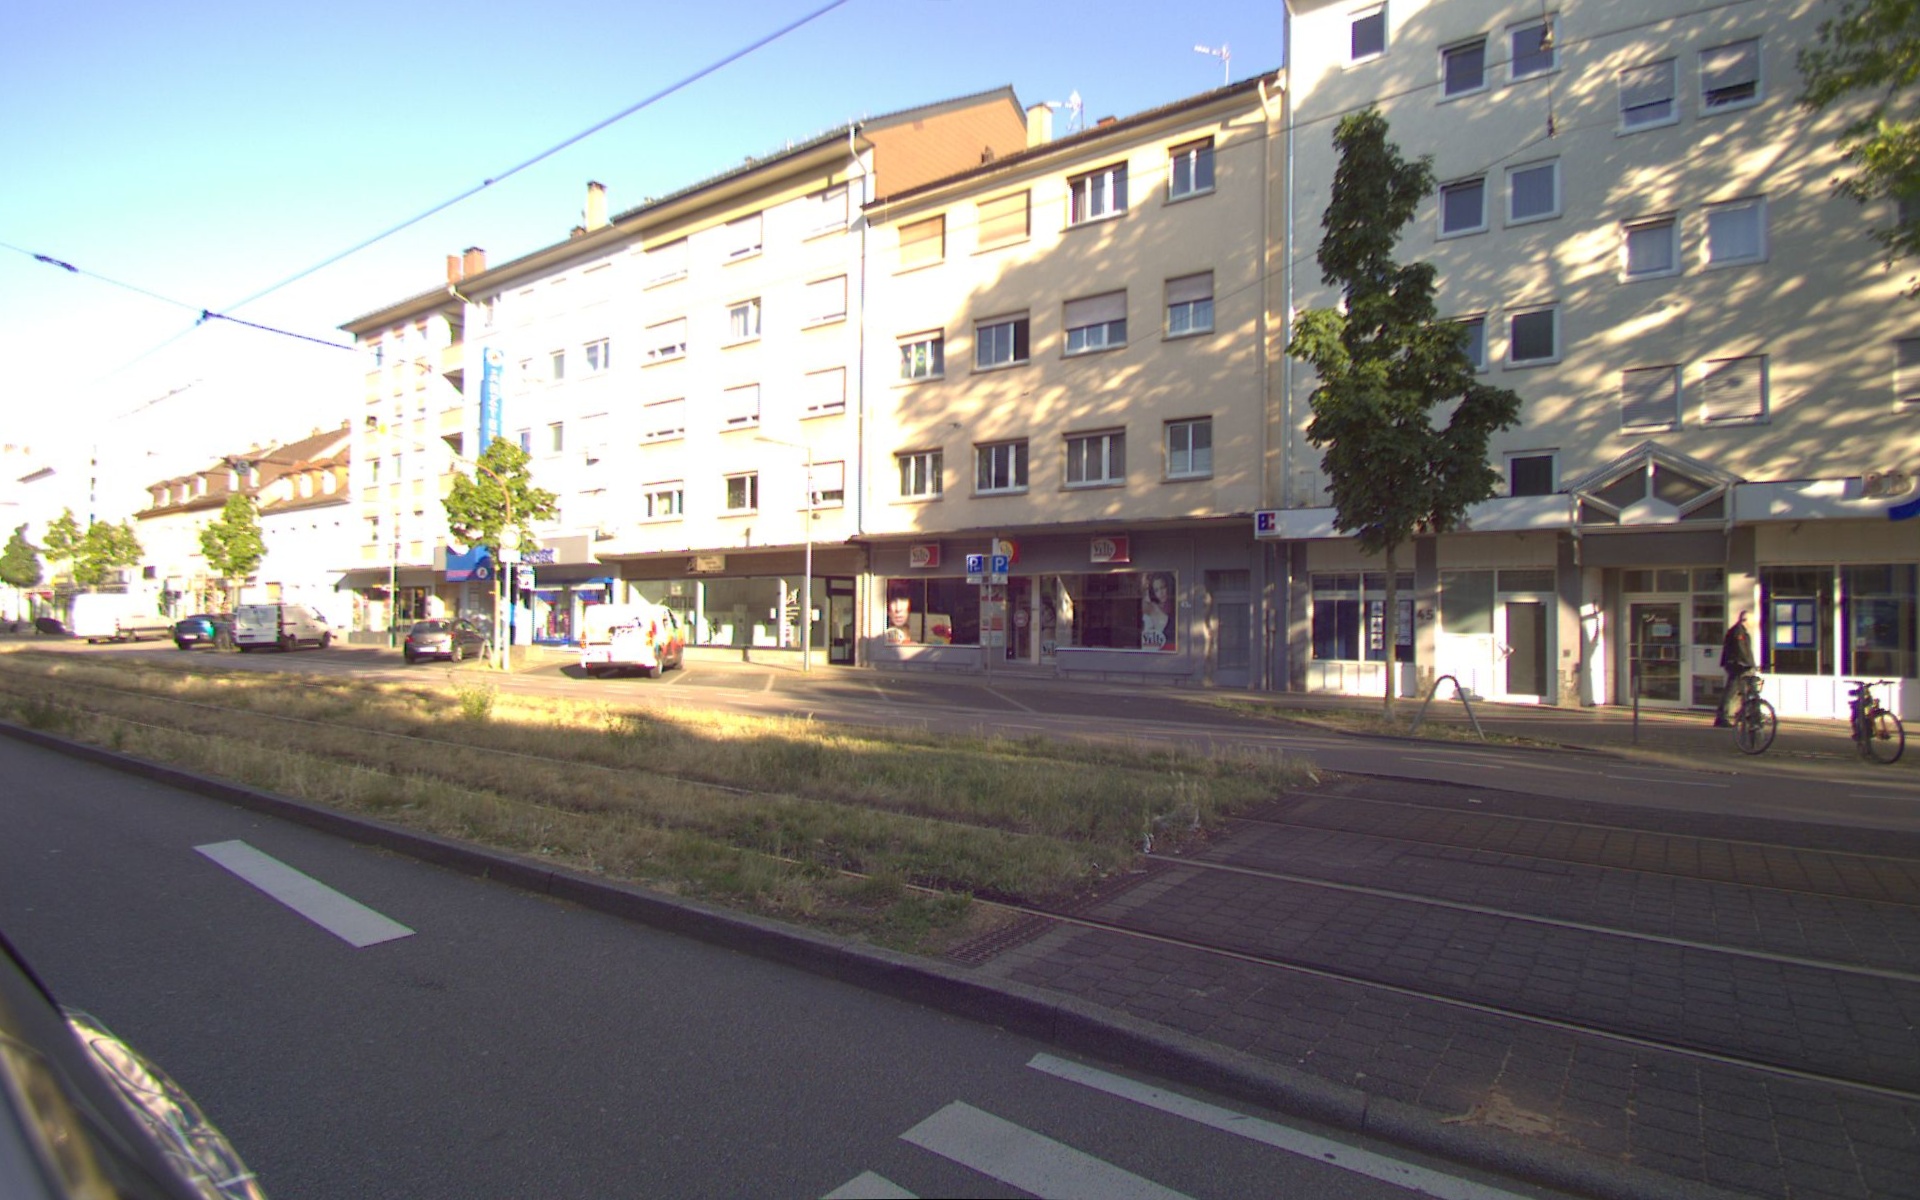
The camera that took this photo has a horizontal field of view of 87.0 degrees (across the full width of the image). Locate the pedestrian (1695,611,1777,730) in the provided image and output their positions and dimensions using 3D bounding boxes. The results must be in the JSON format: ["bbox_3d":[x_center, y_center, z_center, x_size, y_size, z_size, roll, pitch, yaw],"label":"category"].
[{"bbox_3d":[12.195,1.077,15.911,0.970,1.801,0.612,-1,0,41],"label":"pedestrian"}]

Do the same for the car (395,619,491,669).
[{"bbox_3d":[-17.613,1.460,34.698,1.741,1.501,4.461,-1,0,-11],"label":"car"}]

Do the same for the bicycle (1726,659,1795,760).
[{"bbox_3d":[10.369,1.373,13.153,0.533,1.133,1.878,-1,-1,34],"label":"bicycle"}]

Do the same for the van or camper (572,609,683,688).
[{"bbox_3d":[-8.887,1.220,27.488,1.921,1.912,4.822,-1,0,-6],"label":"van or camper"}]

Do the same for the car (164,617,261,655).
[{"bbox_3d":[-34.298,1.606,46.574,1.850,1.598,4.007,-1,0,-7],"label":"car"}]

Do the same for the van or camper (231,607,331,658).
[{"bbox_3d":[-28.564,1.308,42.753,1.771,2.004,4.460,-1,0,-9],"label":"van or camper"}]

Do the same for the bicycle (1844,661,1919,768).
[{"bbox_3d":[11.394,1.367,12.434,0.533,1.133,1.878,-1,-1,34],"label":"bicycle"}]

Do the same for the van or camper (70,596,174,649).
[{"bbox_3d":[-45.384,1.172,55.012,1.966,2.687,6.417,-1,0,-16],"label":"van or camper"}]

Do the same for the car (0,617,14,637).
[{"bbox_3d":[-73.394,2.041,75.451,1.752,1.501,3.899,-1,0,13],"label":"car"}]
